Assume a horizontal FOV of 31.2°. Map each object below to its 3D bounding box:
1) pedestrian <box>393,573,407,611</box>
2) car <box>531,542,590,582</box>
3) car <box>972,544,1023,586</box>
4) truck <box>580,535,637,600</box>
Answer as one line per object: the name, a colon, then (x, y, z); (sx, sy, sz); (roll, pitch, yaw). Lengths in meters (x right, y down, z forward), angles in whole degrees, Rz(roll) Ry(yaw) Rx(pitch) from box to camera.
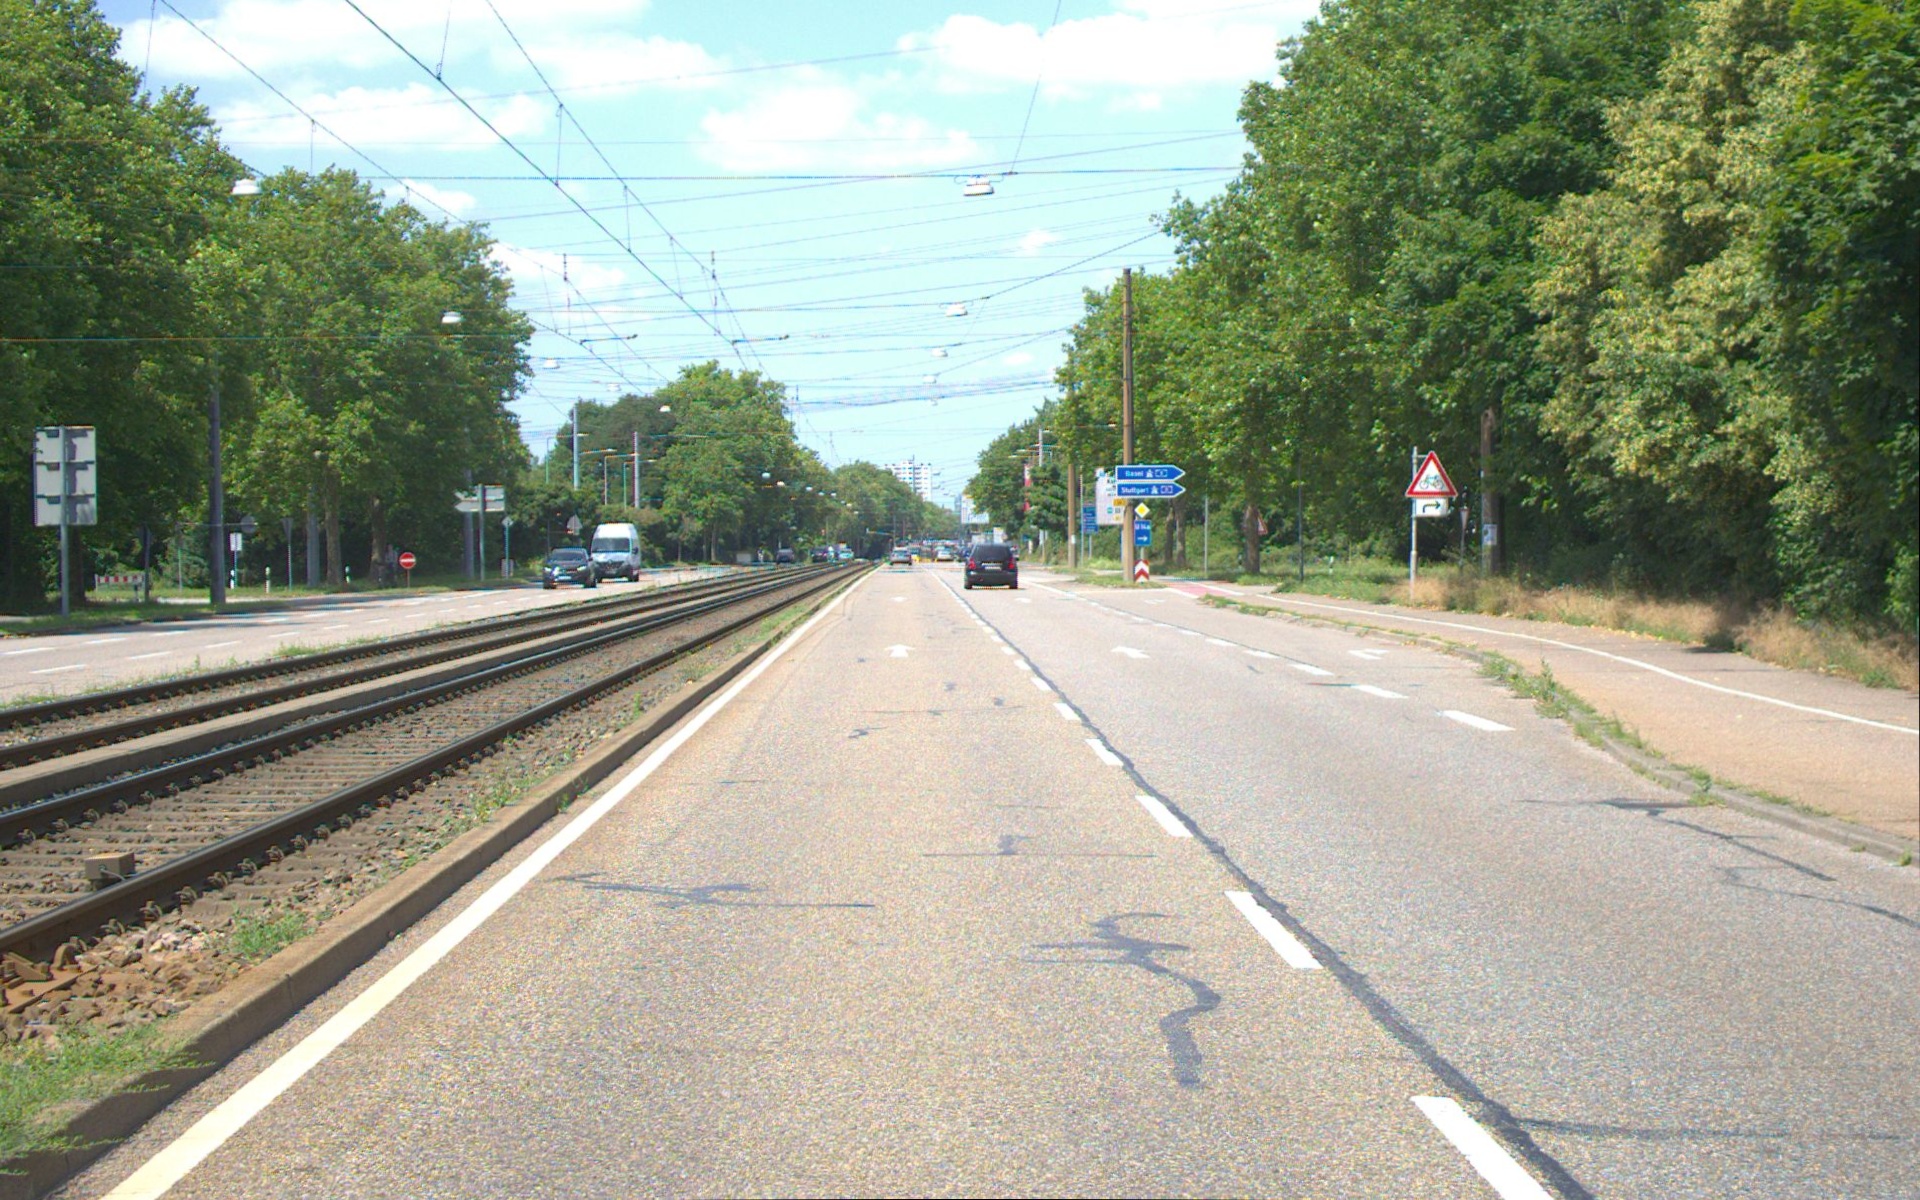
pedestrian: (-23.288, -0.329, 143.015); (0.513, 1.546, 0.704); (-2, 1, -6)
car: (-15.866, -1.510, 136.666); (1.817, 1.509, 4.428); (-1, 1, -1)
car: (1.270, -1.213, 117.438); (1.586, 1.338, 3.273); (-1, 2, -2)
truck: (-16.571, -1.557, 162.389); (2.054, 2.929, 6.320); (-2, 1, -1)
